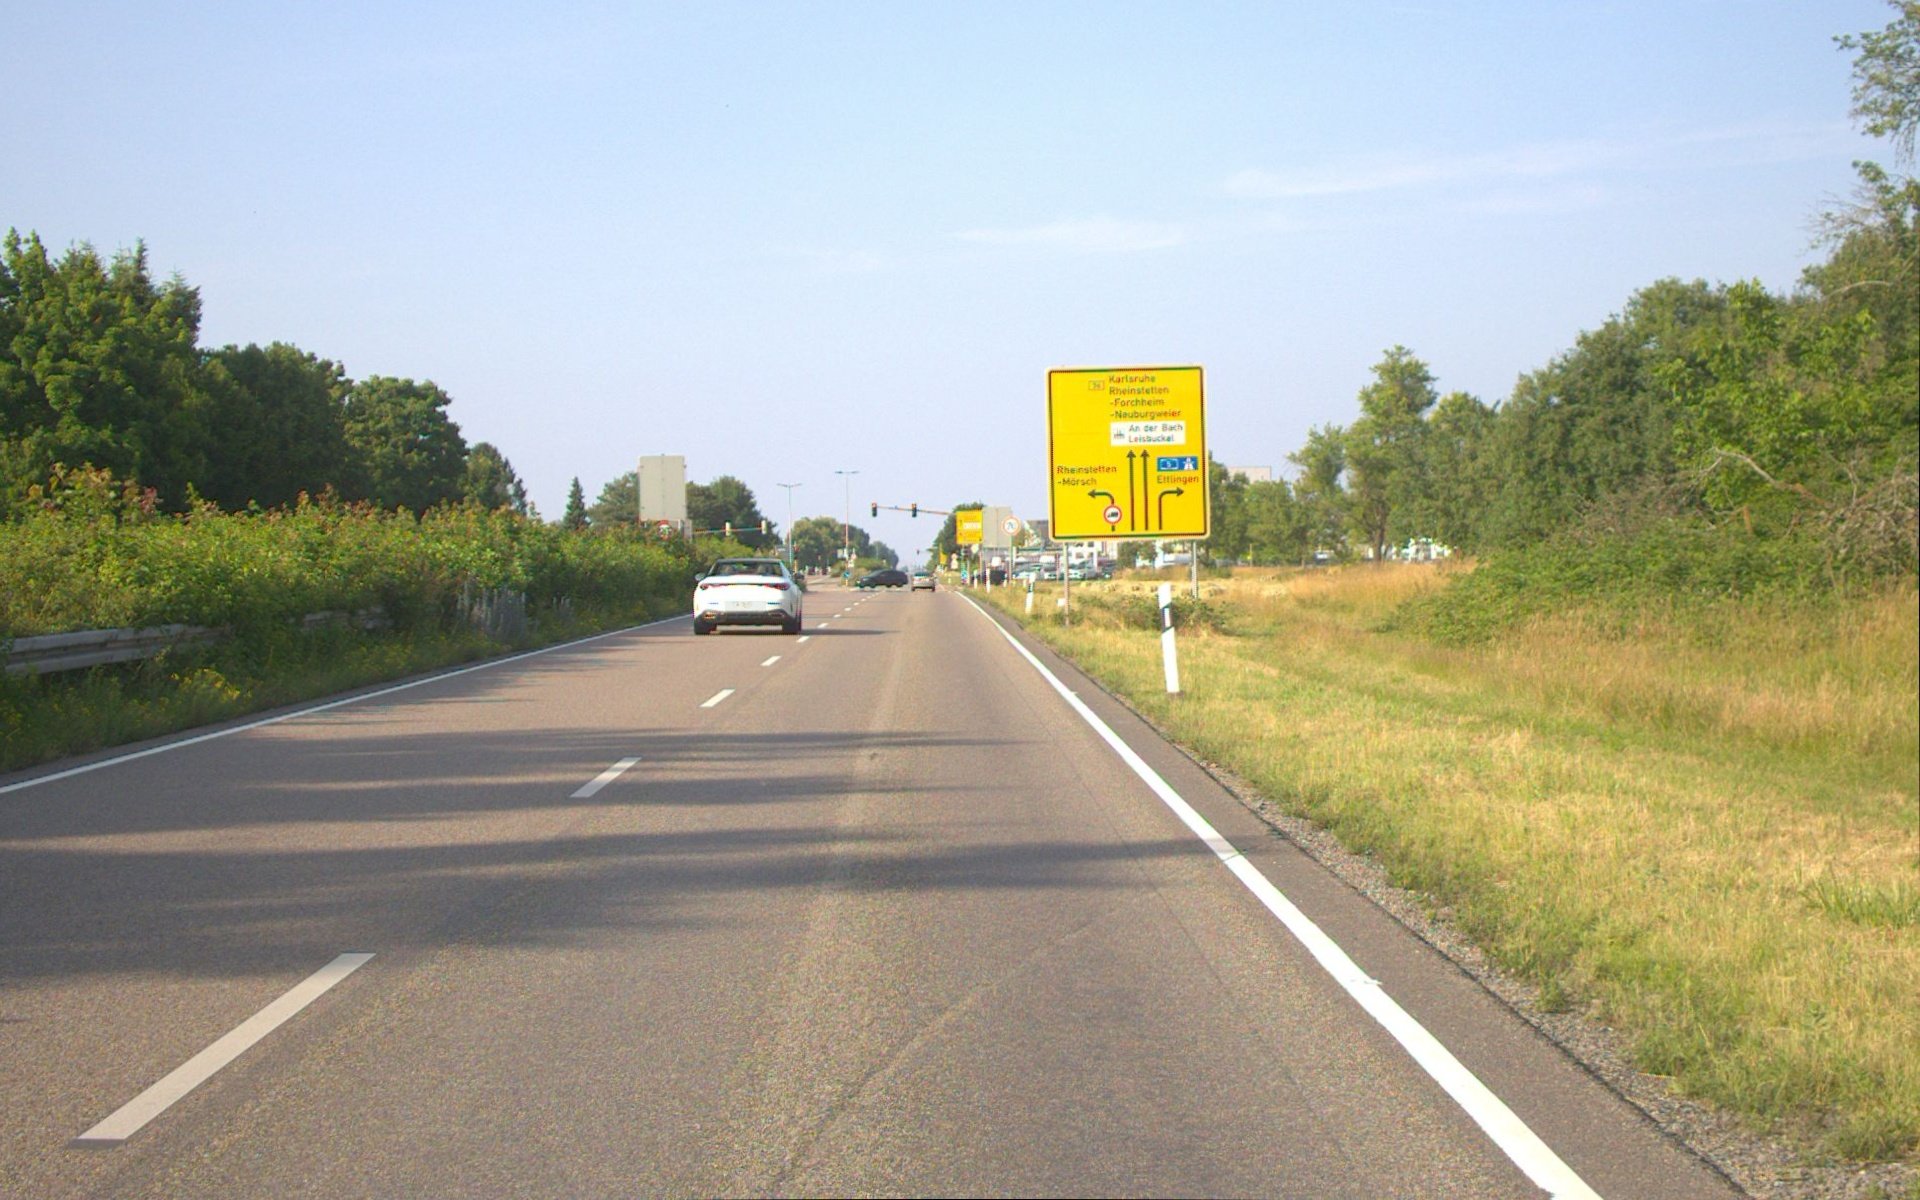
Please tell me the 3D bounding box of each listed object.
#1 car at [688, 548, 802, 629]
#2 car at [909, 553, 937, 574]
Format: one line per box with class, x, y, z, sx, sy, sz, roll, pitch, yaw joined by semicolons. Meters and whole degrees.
car;-3.879;-0.222;62.580;1.909;1.417;4.000;0;1;-1
car;-2.705;-2.644;248.587;1.993;1.481;4.000;0;1;-1
